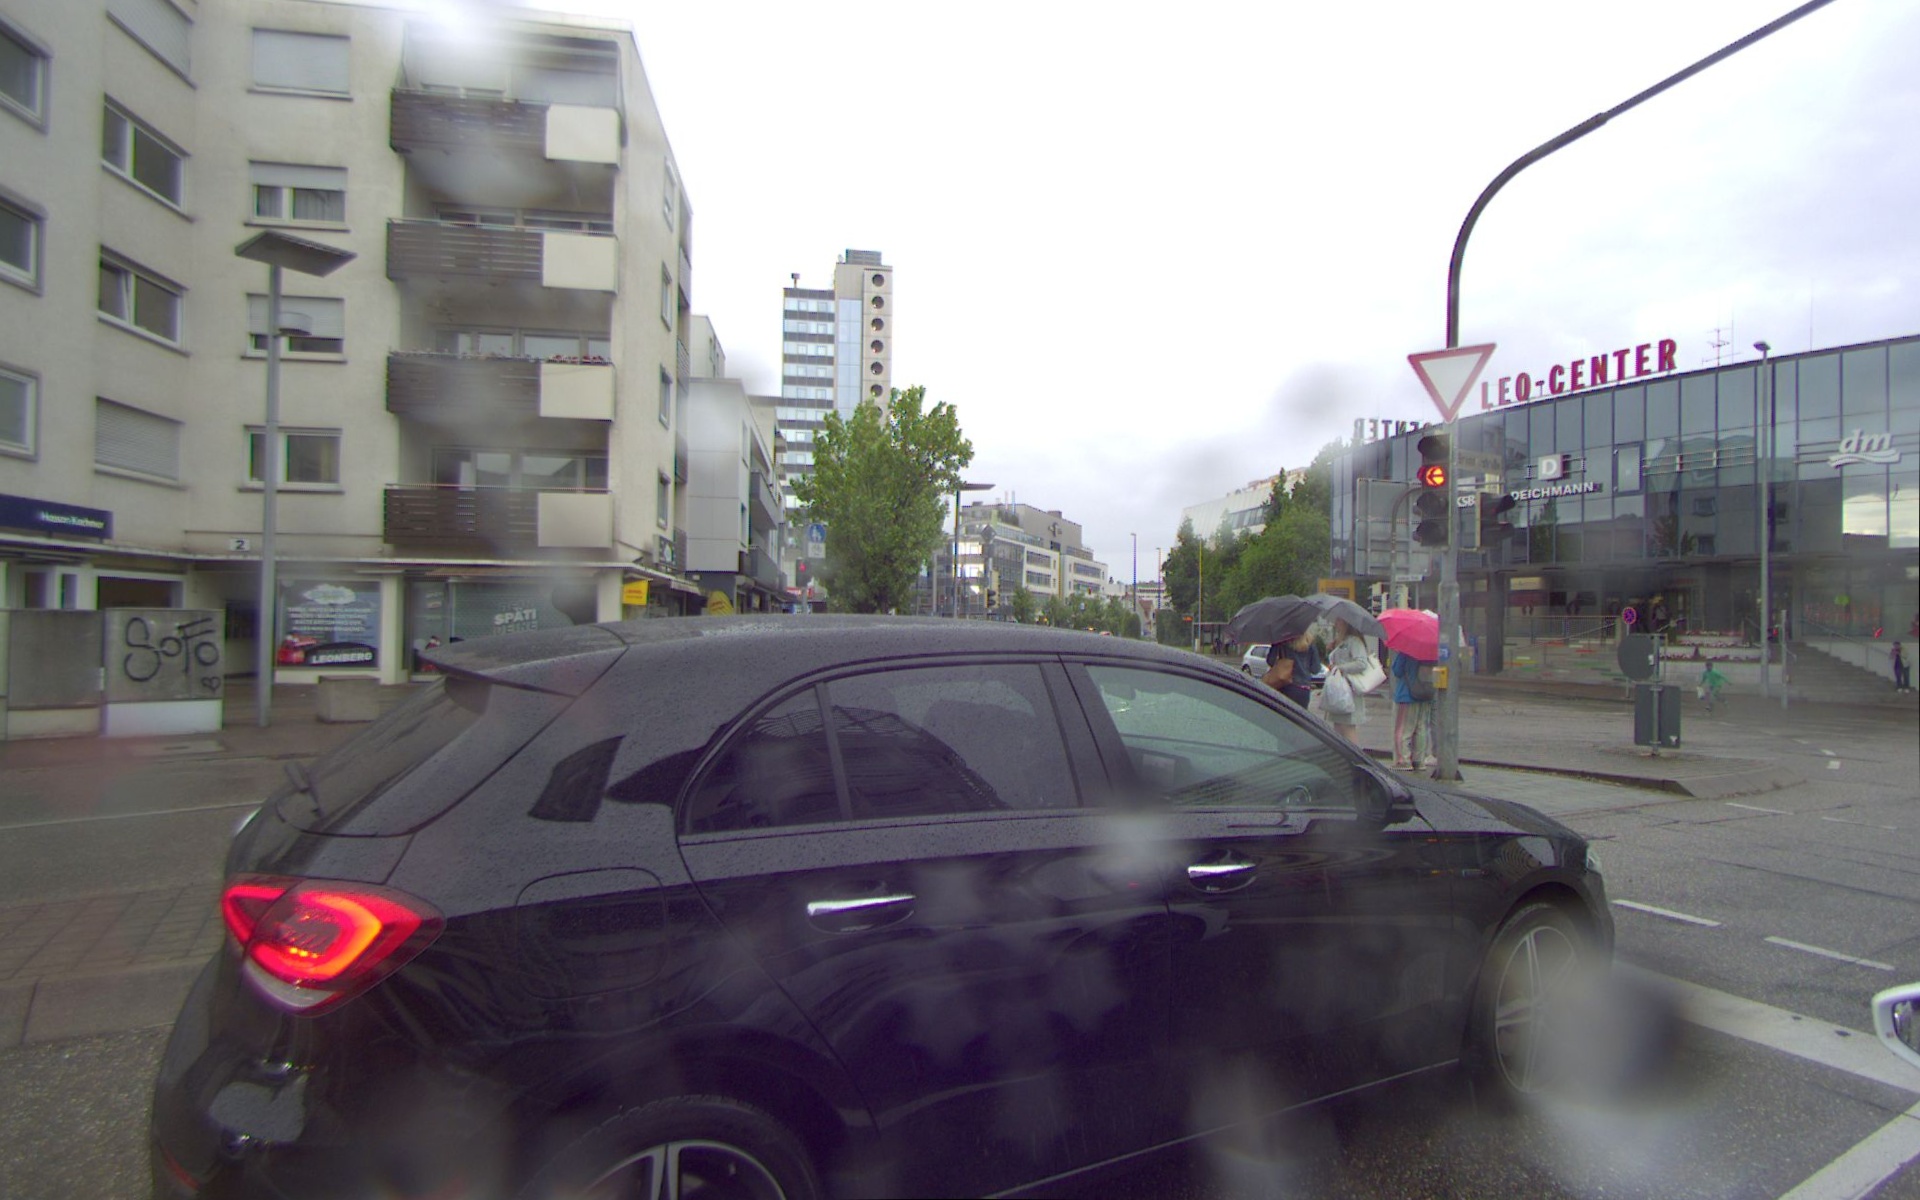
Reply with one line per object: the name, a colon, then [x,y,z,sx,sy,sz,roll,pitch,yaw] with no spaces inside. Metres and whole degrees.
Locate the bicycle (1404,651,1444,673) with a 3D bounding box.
bicycle: [24.078,3.225,52.137,1.822,1.056,0.646,-1,-2,-12]

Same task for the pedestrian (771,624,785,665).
pedestrian: [-8.167,2.000,45.117,0.557,1.817,0.491,1,-2,-4]

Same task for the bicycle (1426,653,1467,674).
bicycle: [24.478,3.187,50.514,1.822,1.036,0.631,0,-2,-12]

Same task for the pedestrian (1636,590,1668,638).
pedestrian: [30.133,0.624,43.724,0.943,2.040,0.824,2,0,-37]

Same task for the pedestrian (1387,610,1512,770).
pedestrian: [5.520,0.984,11.343,0.906,1.699,0.931,2,-2,-30]

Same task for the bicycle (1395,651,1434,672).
bicycle: [23.925,3.229,52.880,1.822,1.047,0.628,-1,-1,-12]

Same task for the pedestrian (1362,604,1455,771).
pedestrian: [4.809,0.919,10.809,0.790,1.707,0.674,1,-2,14]

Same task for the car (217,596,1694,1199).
car: [0.346,0.779,3.063,4.048,1.501,1.654,1,1,-32]

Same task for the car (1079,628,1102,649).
car: [12.480,3.659,96.191,2.008,1.921,4.141,1,-1,6]

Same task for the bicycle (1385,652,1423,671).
bicycle: [23.669,3.270,53.541,1.821,0.964,0.535,-1,0,-8]

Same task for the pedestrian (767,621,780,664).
pedestrian: [-7.605,1.738,40.947,0.441,1.746,0.499,1,-2,-12]

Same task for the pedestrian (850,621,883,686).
pedestrian: [-2.470,1.404,26.556,0.799,1.677,0.714,1,-2,-3]

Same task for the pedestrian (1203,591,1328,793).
pedestrian: [2.851,0.820,9.339,0.937,1.759,0.835,0,-2,30]

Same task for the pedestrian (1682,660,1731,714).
pedestrian: [23.545,2.721,31.707,0.794,1.644,0.951,1,-2,-9]

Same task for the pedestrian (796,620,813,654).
pedestrian: [-8.550,2.034,55.054,0.859,1.835,0.923,1,-1,-10]

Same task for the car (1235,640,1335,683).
car: [12.175,2.289,37.882,1.717,1.460,3.980,2,-1,-15]

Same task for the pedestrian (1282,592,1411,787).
pedestrian: [3.734,0.839,9.795,0.843,1.767,1.139,1,-2,3]

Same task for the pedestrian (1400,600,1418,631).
pedestrian: [25.421,0.874,56.851,0.642,1.736,0.599,2,0,-6]

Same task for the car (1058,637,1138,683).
car: [4.807,2.084,35.660,2.082,1.432,5.147,2,-2,0]

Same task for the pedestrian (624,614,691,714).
pedestrian: [-5.050,1.055,16.761,0.904,1.606,0.651,2,-2,-33]

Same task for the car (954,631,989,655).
car: [0.652,2.598,60.907,1.414,1.314,3.770,2,-1,-11]

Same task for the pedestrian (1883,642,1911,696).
pedestrian: [34.143,2.501,36.598,0.589,1.933,0.651,2,-1,-37]
